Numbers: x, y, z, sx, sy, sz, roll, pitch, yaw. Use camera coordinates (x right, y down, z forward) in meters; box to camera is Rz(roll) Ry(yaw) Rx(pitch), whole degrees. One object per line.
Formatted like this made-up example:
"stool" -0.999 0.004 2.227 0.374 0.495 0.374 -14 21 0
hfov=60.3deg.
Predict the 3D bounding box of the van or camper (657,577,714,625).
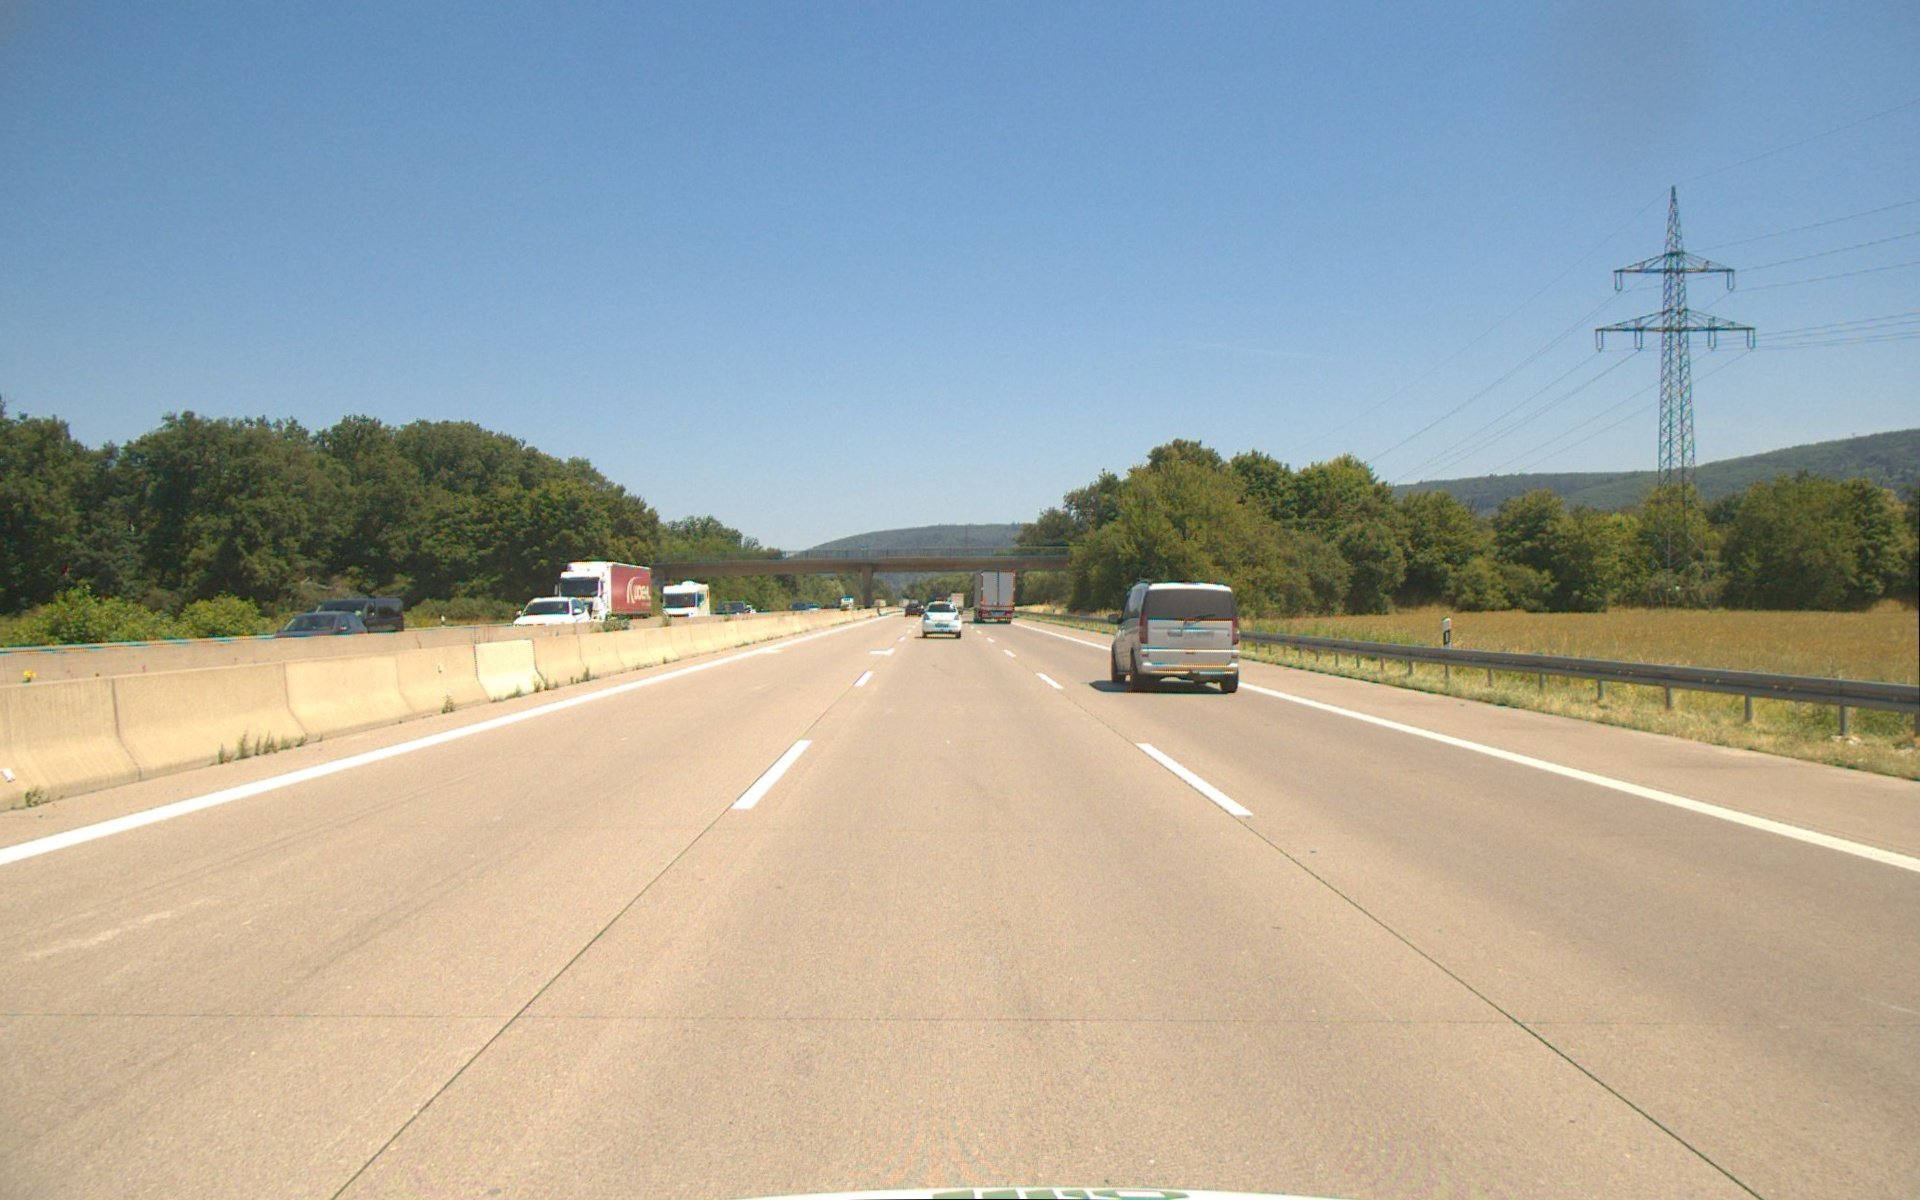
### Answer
"van or camper" -17.803 0.056 107.749 2.474 2.940 7.936 -1 0 -1

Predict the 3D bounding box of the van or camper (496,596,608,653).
"van or camper" -12.953 0.735 52.920 2.196 1.722 5.849 0 0 -1

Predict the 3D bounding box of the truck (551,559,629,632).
"truck" -21.331 -0.278 95.736 2.939 4.052 7.293 -1 0 -1

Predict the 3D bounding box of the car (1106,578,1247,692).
"car" 3.923 0.596 30.816 1.841 1.922 5.278 0 0 -1

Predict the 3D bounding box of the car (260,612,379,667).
"car" -17.109 1.019 44.338 1.661 1.356 3.999 -1 0 -1

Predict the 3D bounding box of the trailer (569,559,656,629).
"trailer" -21.428 -0.357 102.790 2.939 4.052 12.339 -1 0 -1

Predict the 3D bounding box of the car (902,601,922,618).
"car" -5.230 1.021 178.605 1.982 1.730 3.997 2 -1 -4

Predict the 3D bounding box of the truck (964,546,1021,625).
"truck" 2.448 -1.068 132.843 3.505 5.889 18.238 0 0 -2

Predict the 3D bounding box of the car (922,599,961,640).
"car" -0.801 0.831 71.118 1.608 1.691 3.359 1 0 -1
